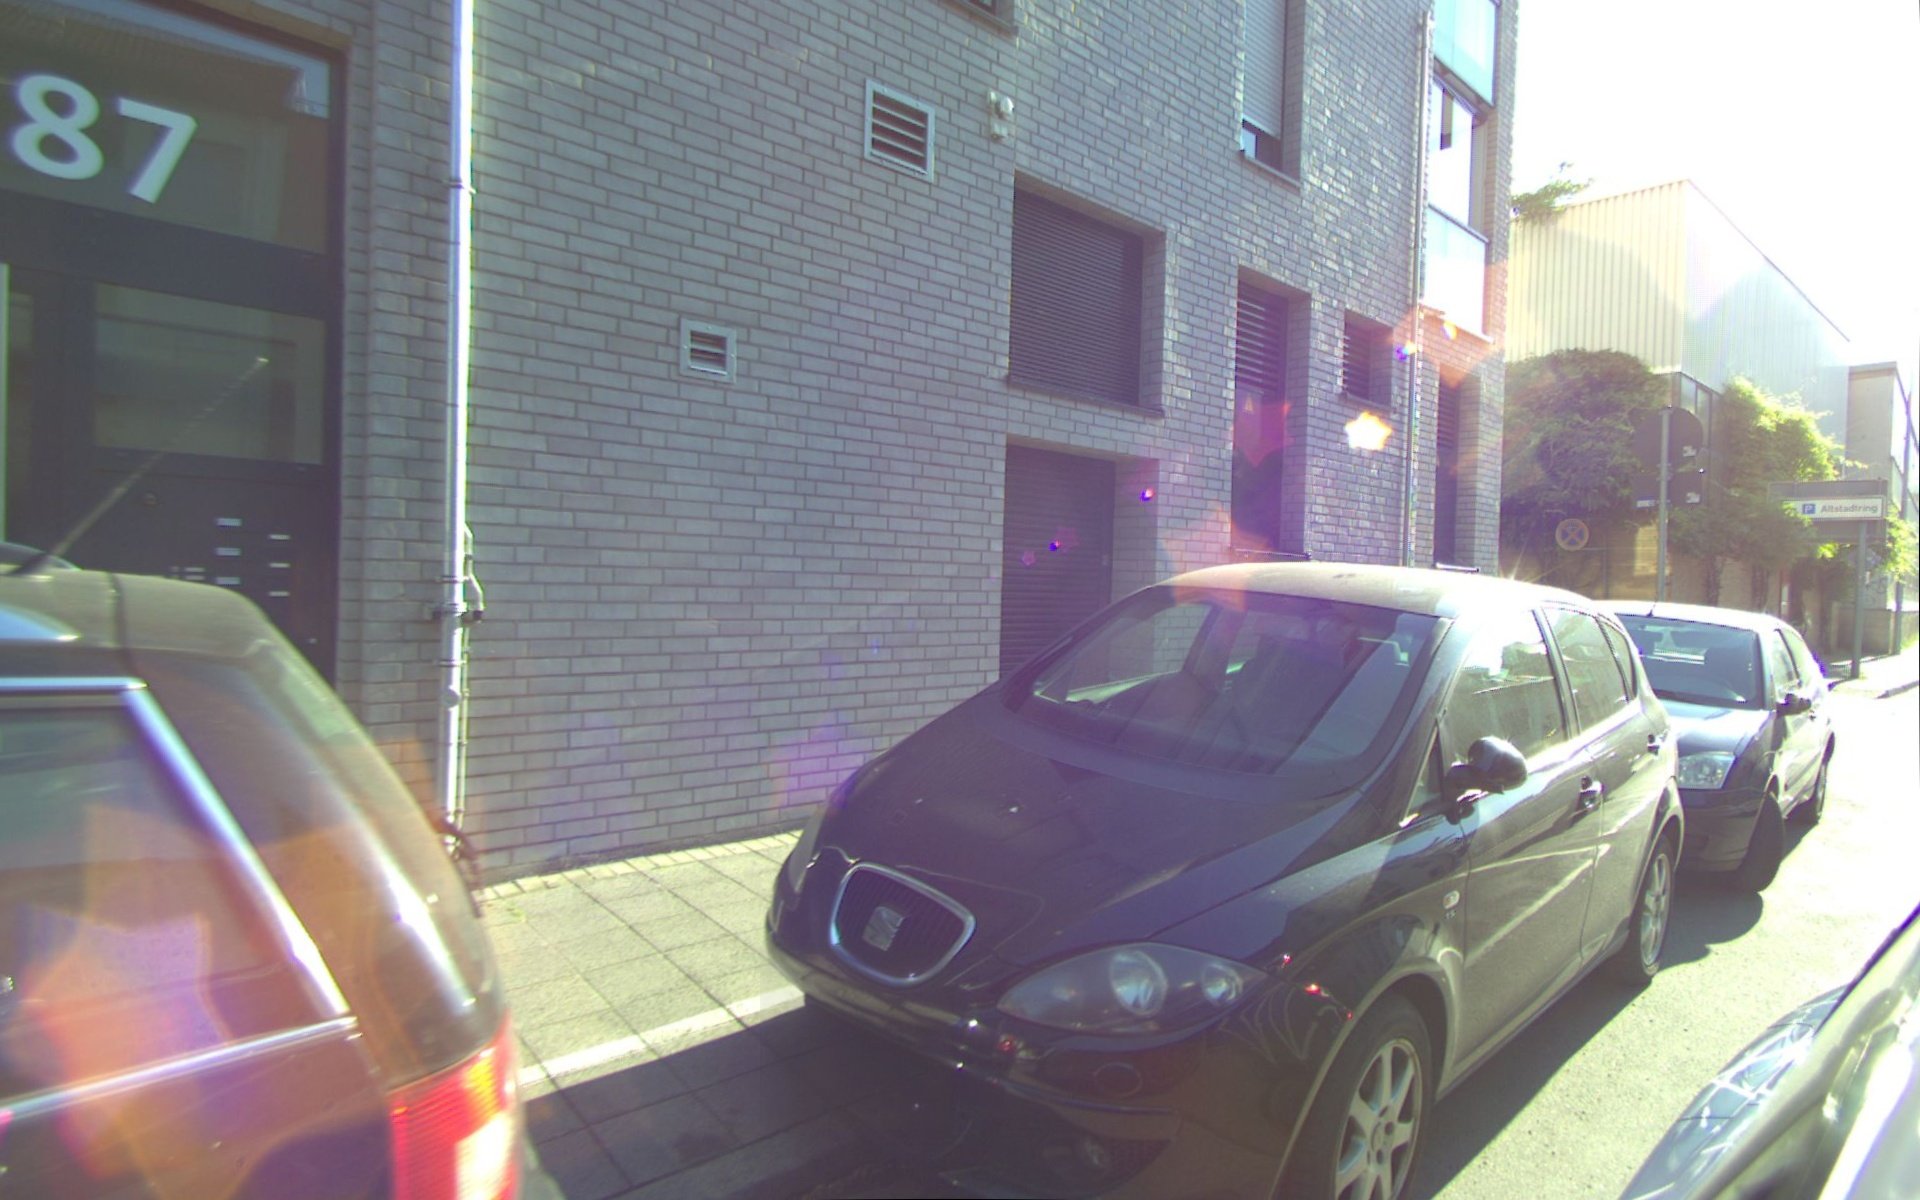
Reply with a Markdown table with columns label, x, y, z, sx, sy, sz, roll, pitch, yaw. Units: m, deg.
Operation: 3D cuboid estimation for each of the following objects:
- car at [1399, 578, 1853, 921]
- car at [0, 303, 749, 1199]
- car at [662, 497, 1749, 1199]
| label | x | y | z | sx | sy | sz | roll | pitch | yaw |
| --- | --- | --- | --- | --- | --- | --- | --- | --- | --- |
| car | 4.515 | 0.702 | 6.646 | 3.594 | 1.542 | 1.729 | 1 | 3 | -45 |
| car | -2.604 | 0.578 | 0.285 | 4.756 | 1.755 | 1.670 | 1 | 3 | -42 |
| car | 1.334 | 0.634 | 3.614 | 4.270 | 1.611 | 1.653 | 1 | 4 | -44 |
